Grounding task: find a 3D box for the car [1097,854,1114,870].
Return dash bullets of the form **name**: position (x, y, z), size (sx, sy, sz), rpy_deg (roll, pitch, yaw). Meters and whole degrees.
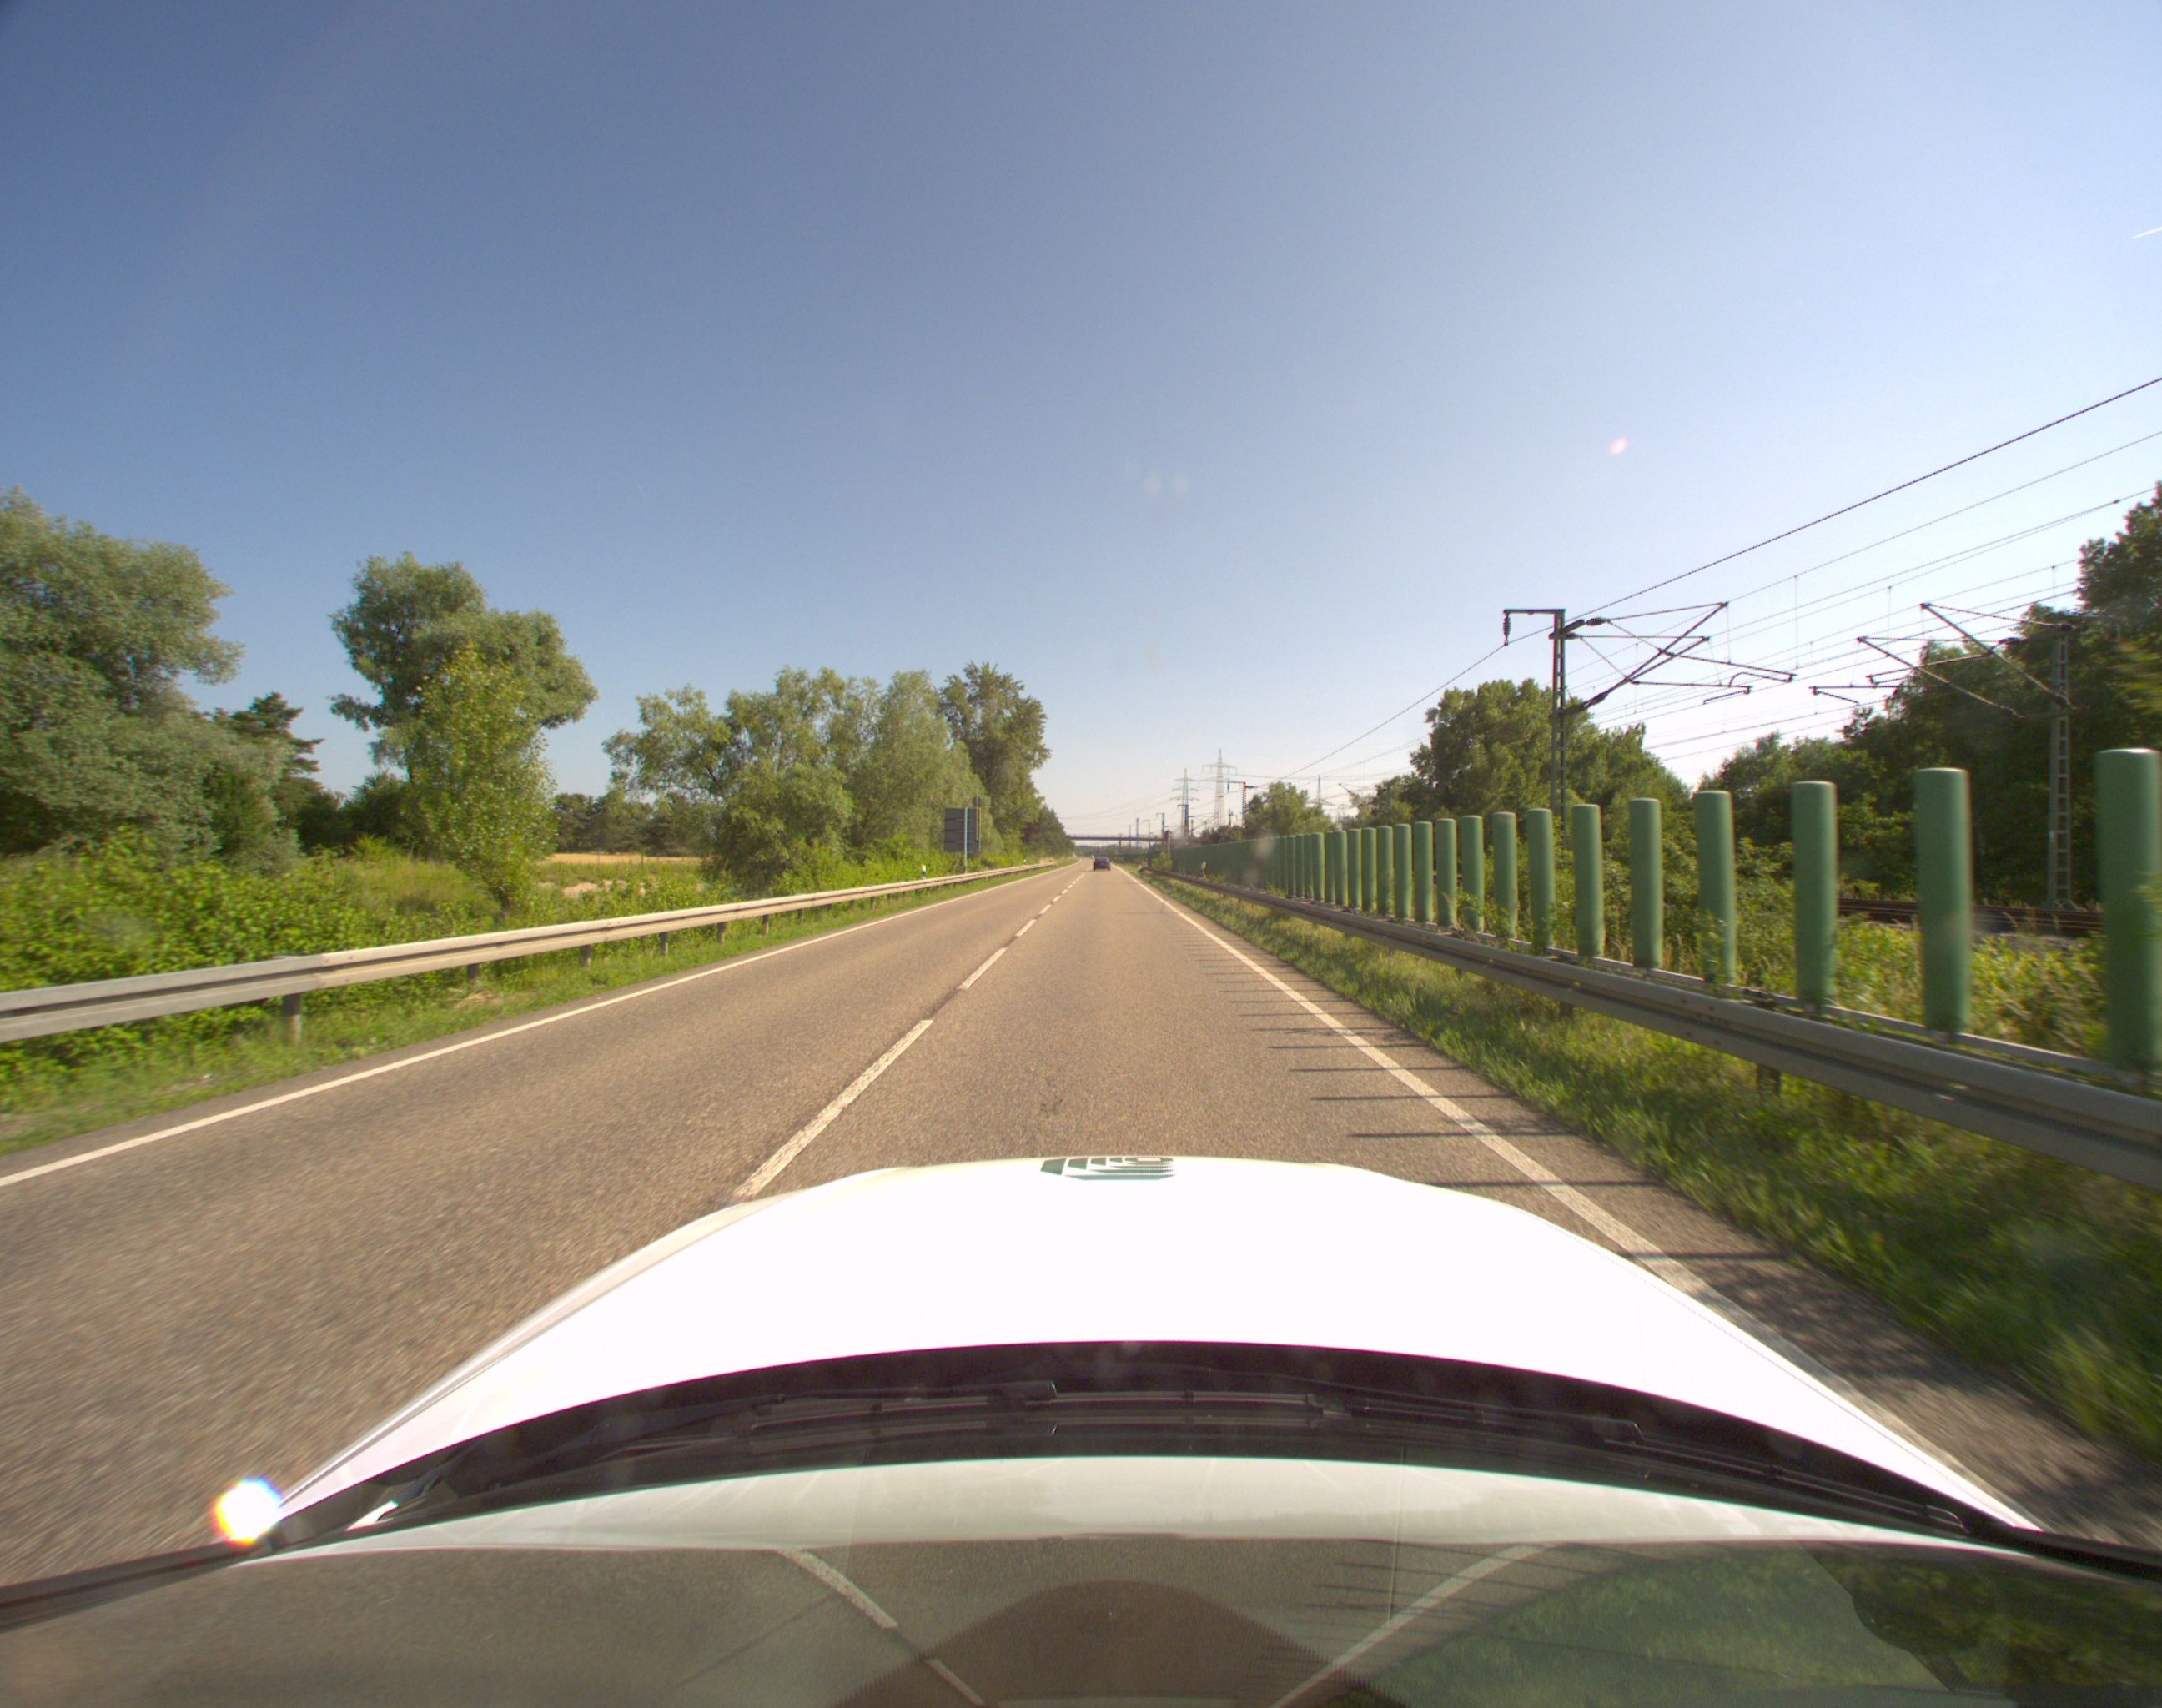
- **car**: position (2.599, 0.811, 87.212), size (1.852, 1.642, 4.001), rpy_deg (-1, 0, 1)
